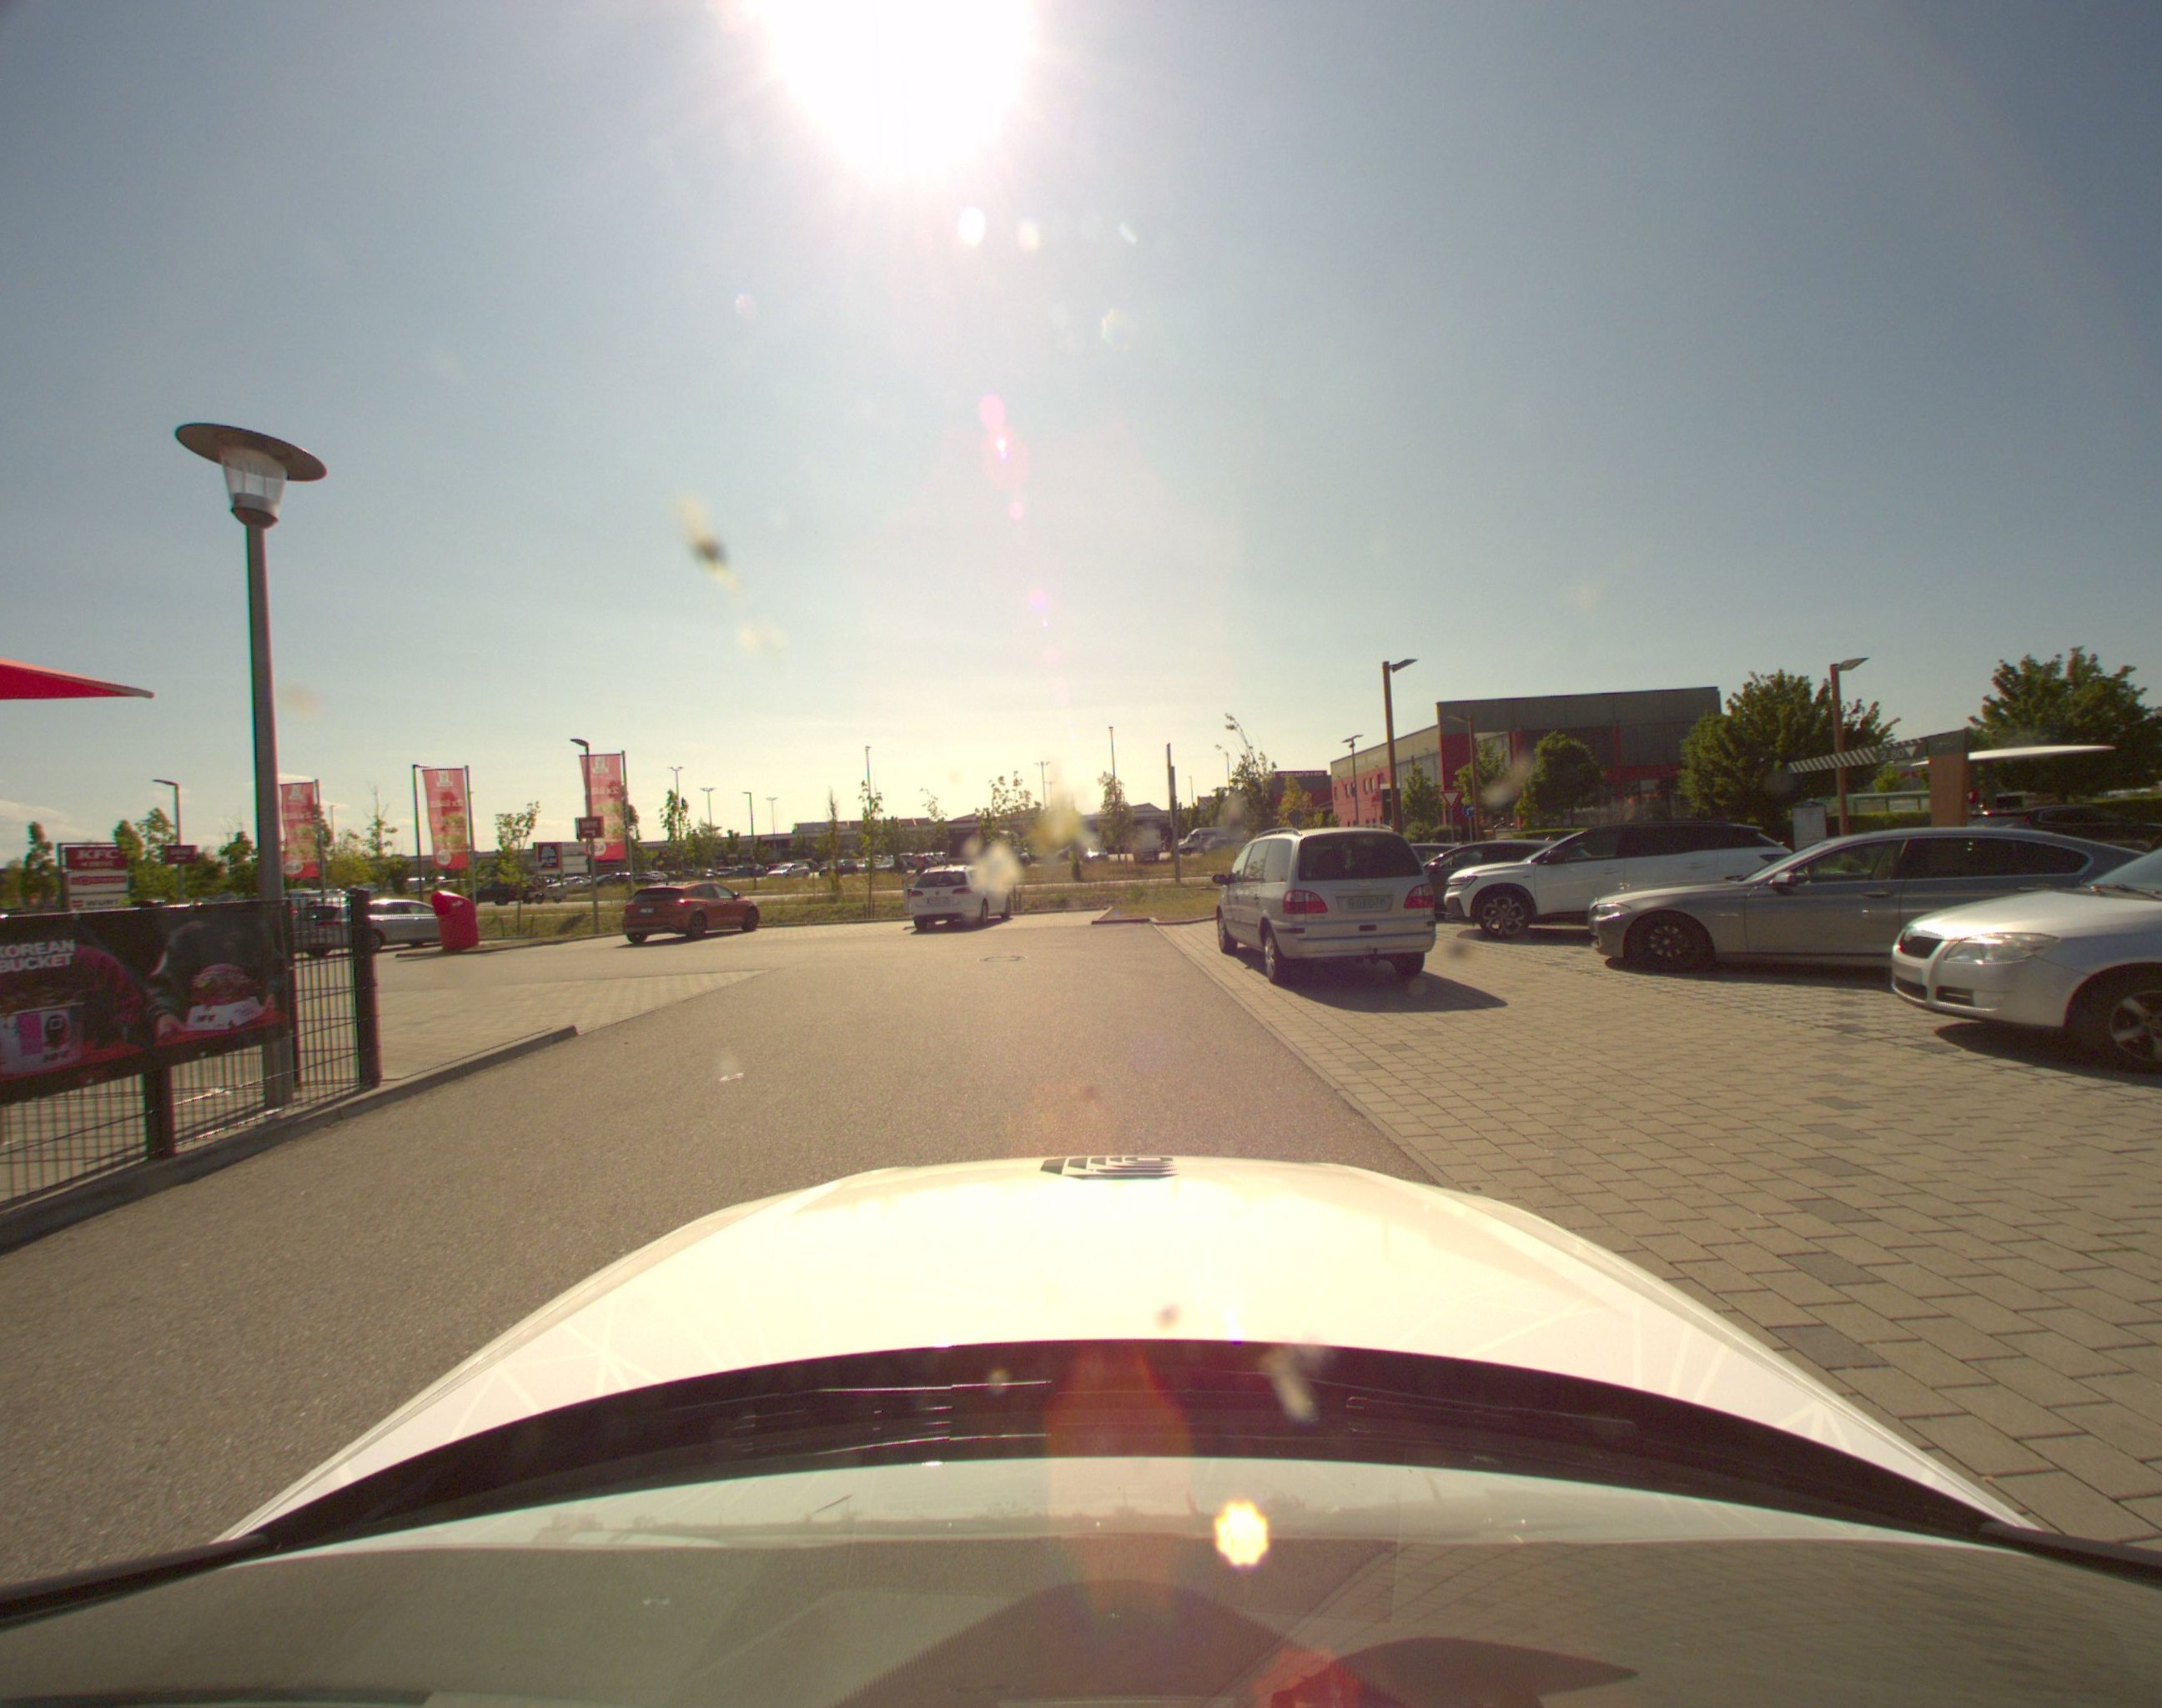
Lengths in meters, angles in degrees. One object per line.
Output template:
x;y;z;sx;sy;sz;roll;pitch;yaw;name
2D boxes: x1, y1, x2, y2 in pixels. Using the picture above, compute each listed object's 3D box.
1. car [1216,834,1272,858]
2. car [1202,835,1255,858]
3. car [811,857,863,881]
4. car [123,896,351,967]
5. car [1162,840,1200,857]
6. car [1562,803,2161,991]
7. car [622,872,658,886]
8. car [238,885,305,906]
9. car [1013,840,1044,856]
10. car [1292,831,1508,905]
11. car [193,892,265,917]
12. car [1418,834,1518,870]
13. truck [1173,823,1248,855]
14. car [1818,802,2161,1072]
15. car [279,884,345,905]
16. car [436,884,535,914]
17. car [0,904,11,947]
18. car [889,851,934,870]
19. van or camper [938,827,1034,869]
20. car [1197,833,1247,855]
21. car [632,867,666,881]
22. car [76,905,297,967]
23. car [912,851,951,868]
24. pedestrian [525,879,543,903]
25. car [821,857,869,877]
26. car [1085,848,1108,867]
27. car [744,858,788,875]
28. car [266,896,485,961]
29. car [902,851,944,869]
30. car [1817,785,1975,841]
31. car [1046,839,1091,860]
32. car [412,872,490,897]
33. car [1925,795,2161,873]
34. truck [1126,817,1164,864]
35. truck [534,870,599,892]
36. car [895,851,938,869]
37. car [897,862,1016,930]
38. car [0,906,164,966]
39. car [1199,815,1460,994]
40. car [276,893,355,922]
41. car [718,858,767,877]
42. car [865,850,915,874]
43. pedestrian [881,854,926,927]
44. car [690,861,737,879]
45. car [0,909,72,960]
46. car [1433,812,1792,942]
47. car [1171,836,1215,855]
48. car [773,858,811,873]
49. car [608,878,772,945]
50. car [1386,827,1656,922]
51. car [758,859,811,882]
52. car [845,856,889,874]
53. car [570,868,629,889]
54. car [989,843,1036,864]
14.033;-0.683;70.388;4.378;1.855;1.954;-3;0;-2;car
13.159;-0.654;72.844;4.378;1.855;1.954;-3;0;-2;car
-21.221;1.269;71.021;1.932;1.855;4.429;-2;0;22;car
-24.743;2.207;24.124;1.932;1.638;4.244;-3;-1;11;car
12.280;-0.714;100.230;4.378;1.855;1.954;-3;0;-2;car
7.929;0.383;8.499;4.783;1.526;1.988;-2;0;37;car
-55.564;3.175;102.666;3.461;1.552;1.663;-3;0;-7;car
-90.760;4.638;91.391;1.982;2.013;5.089;-2;0;9;car
-7.039;-0.814;109.253;3.972;2.013;2.001;-2;0;1;car
7.475;0.341;19.312;4.278;1.526;1.988;-2;1;43;car
-63.336;3.749;60.521;4.550;1.664;1.888;-2;0;19;car
18.484;-0.093;39.022;3.971;1.495;1.678;-2;0;2;car
12.806;-1.458;80.660;7.016;2.814;1.954;-3;0;-2;truck
7.550;0.404;4.951;4.153;1.526;1.988;-2;0;28;car
-85.536;4.481;90.684;1.982;2.013;5.089;-2;0;9;car
-40.042;3.023;54.830;5.186;1.731;1.990;-2;0;2;car
-41.808;2.720;28.963;1.876;1.609;4.096;-2;-1;13;car
-18.199;0.666;87.447;4.378;1.855;1.954;-3;0;-2;car
-7.919;-0.473;67.453;7.951;3.101;2.435;-2;0;32;van or camper
13.434;-0.936;78.004;4.378;1.855;1.954;-3;0;-2;car
-55.829;2.605;105.335;3.461;1.552;1.663;-3;0;-7;car
-26.997;2.429;24.820;1.757;1.410;4.217;-3;-1;9;car
-18.463;0.630;100.660;4.378;1.855;1.954;-3;0;-2;car
-39.134;2.650;58.246;0.747;1.599;0.696;-2;0;24;pedestrian
-24.529;1.318;84.757;4.378;1.855;1.954;-3;0;-2;car
1.270;0.240;66.621;1.643;1.459;3.971;-2;0;4;car
-38.653;1.517;100.014;4.546;1.855;1.954;-3;0;-2;car
-20.010;2.060;23.428;1.723;1.413;4.616;-3;-1;11;car
-18.353;0.647;94.725;4.378;1.855;1.954;-3;0;-2;car
36.331;-1.797;36.391;5.074;2.197;1.999;-2;0;-1;car
-1.204;-0.424;79.555;4.242;1.855;1.869;-3;0;-2;car
-68.620;3.284;88.838;2.789;2.237;6.333;-2;0;12;car
24.655;-0.511;20.900;4.217;1.691;1.993;-3;1;-6;car
5.211;-1.036;66.075;2.747;3.480;6.841;-2;0;4;truck
-51.869;2.668;82.313;1.977;1.863;5.459;-2;0;19;truck
-18.595;0.666;92.338;4.378;1.855;1.954;-3;0;-2;car
-3.040;1.000;20.929;1.817;1.469;4.490;-3;-1;7;car
-34.310;2.719;27.181;1.874;1.638;4.472;-3;-1;18;car
2.909;0.521;10.746;1.822;1.748;4.680;-3;0;-2;car
-53.835;3.756;57.281;4.359;1.845;2.008;-2;0;15;car
-38.245;1.527;92.056;4.546;1.855;1.954;-3;0;-2;car
-16.220;0.630;69.390;1.932;1.855;4.429;-2;0;22;car
-4.662;0.945;21.362;0.995;1.809;0.721;-3;-1;-20;pedestrian
-46.259;2.034;102.681;4.909;2.013;2.078;-3;0;-6;car
-38.953;2.930;28.359;1.877;1.703;4.346;-3;-1;11;car
7.731;0.341;12.253;4.152;1.654;1.988;-2;0;32;car
12.041;-0.911;87.728;4.378;1.855;1.954;-3;0;-2;car
-39.976;1.529;112.700;4.378;1.855;1.954;-3;0;-2;car
-10.312;1.464;21.906;1.817;1.469;4.362;-3;-1;7;car
8.110;0.371;15.145;4.152;1.526;1.988;-2;0;36;car
-26.237;1.451;72.229;1.976;1.855;4.310;-2;0;22;car
-24.393;1.274;92.926;4.378;1.855;1.954;-3;0;-2;car
-47.269;2.403;80.117;1.977;1.846;4.756;-2;0;19;car
-7.325;-0.029;87.596;4.909;2.013;2.078;-3;0;-6;car
